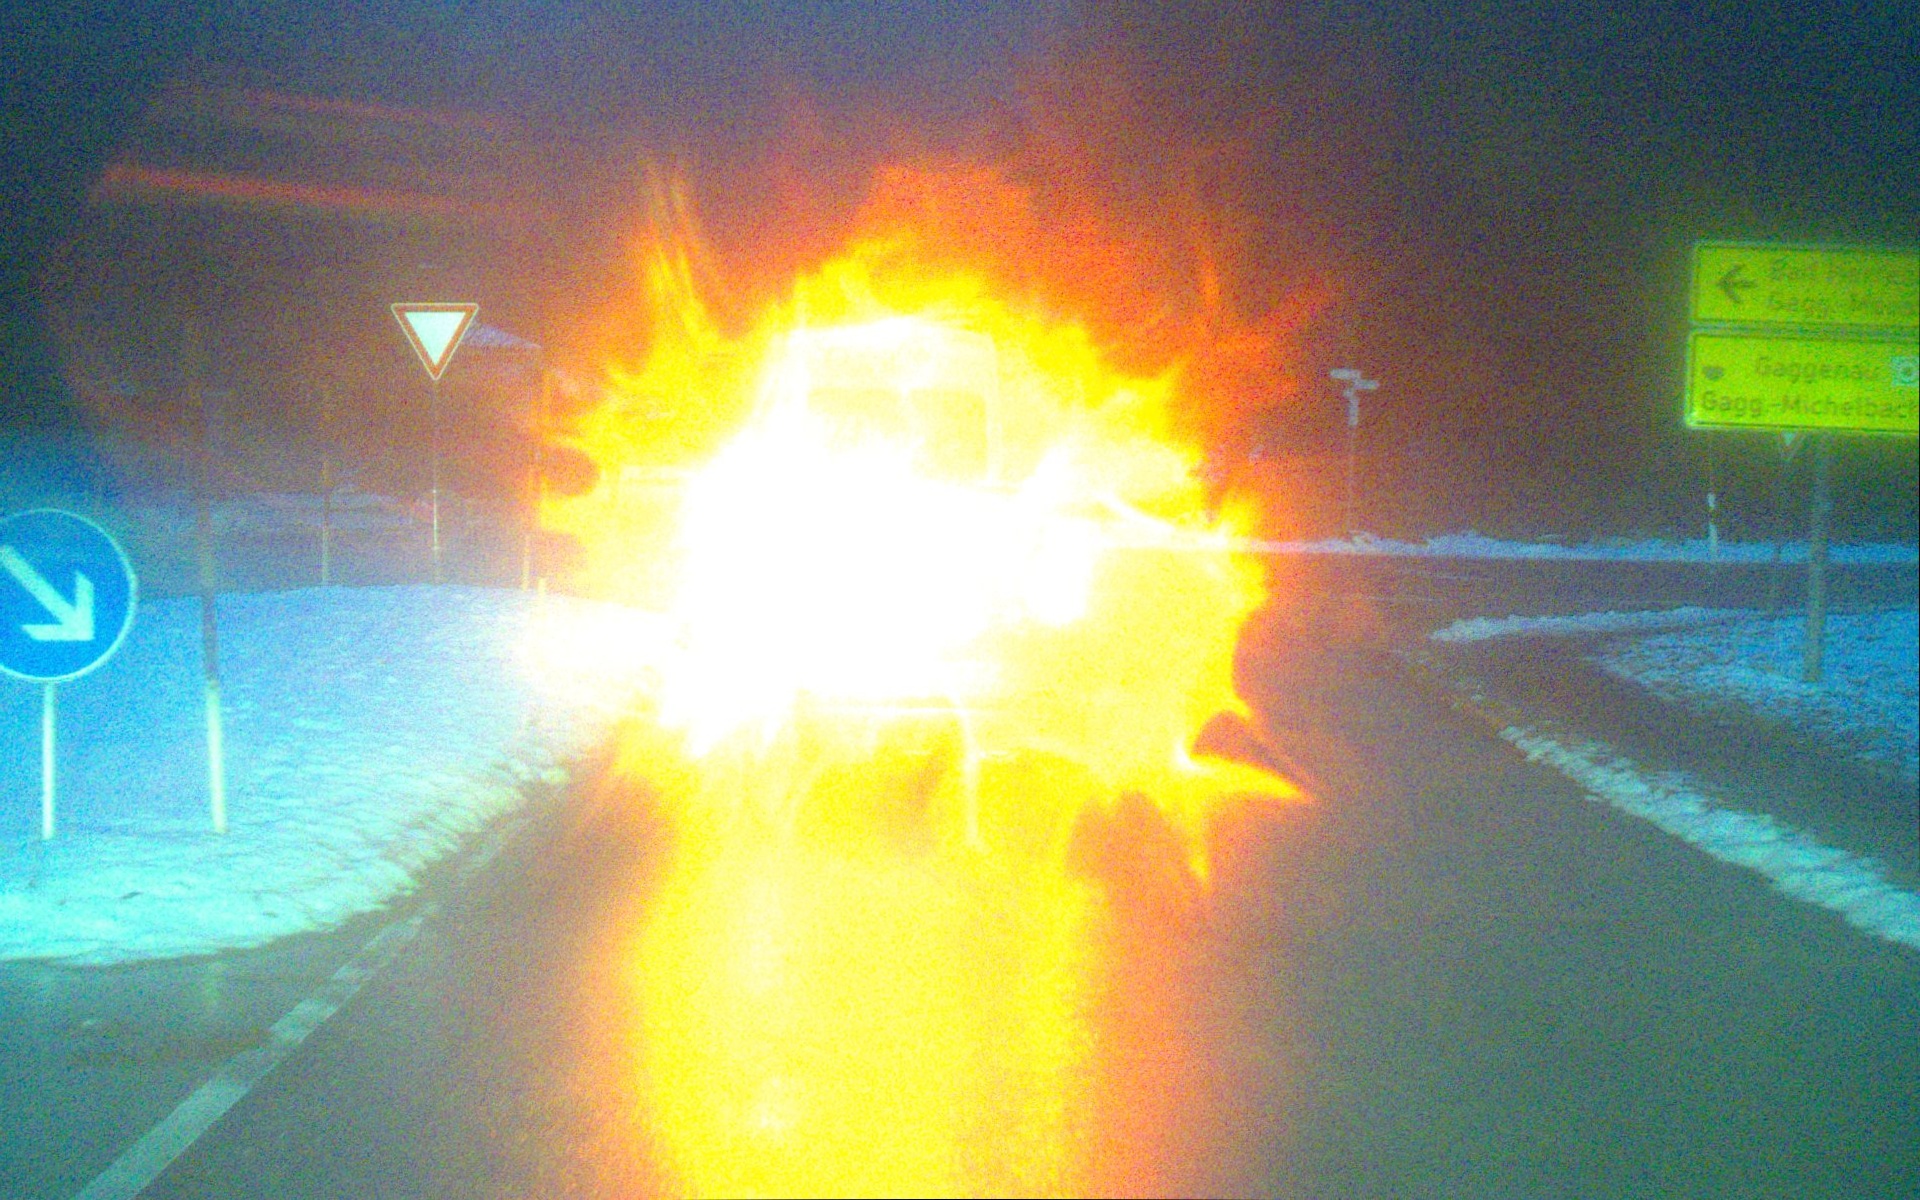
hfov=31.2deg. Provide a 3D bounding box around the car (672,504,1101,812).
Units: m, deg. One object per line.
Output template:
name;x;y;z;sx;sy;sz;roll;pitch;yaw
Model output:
car;-0.376;0.212;17.692;1.922;1.272;4.001;2;3;-1

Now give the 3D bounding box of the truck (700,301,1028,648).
truck;-0.968;-1.095;30.562;2.075;2.736;5.321;2;1;-10
